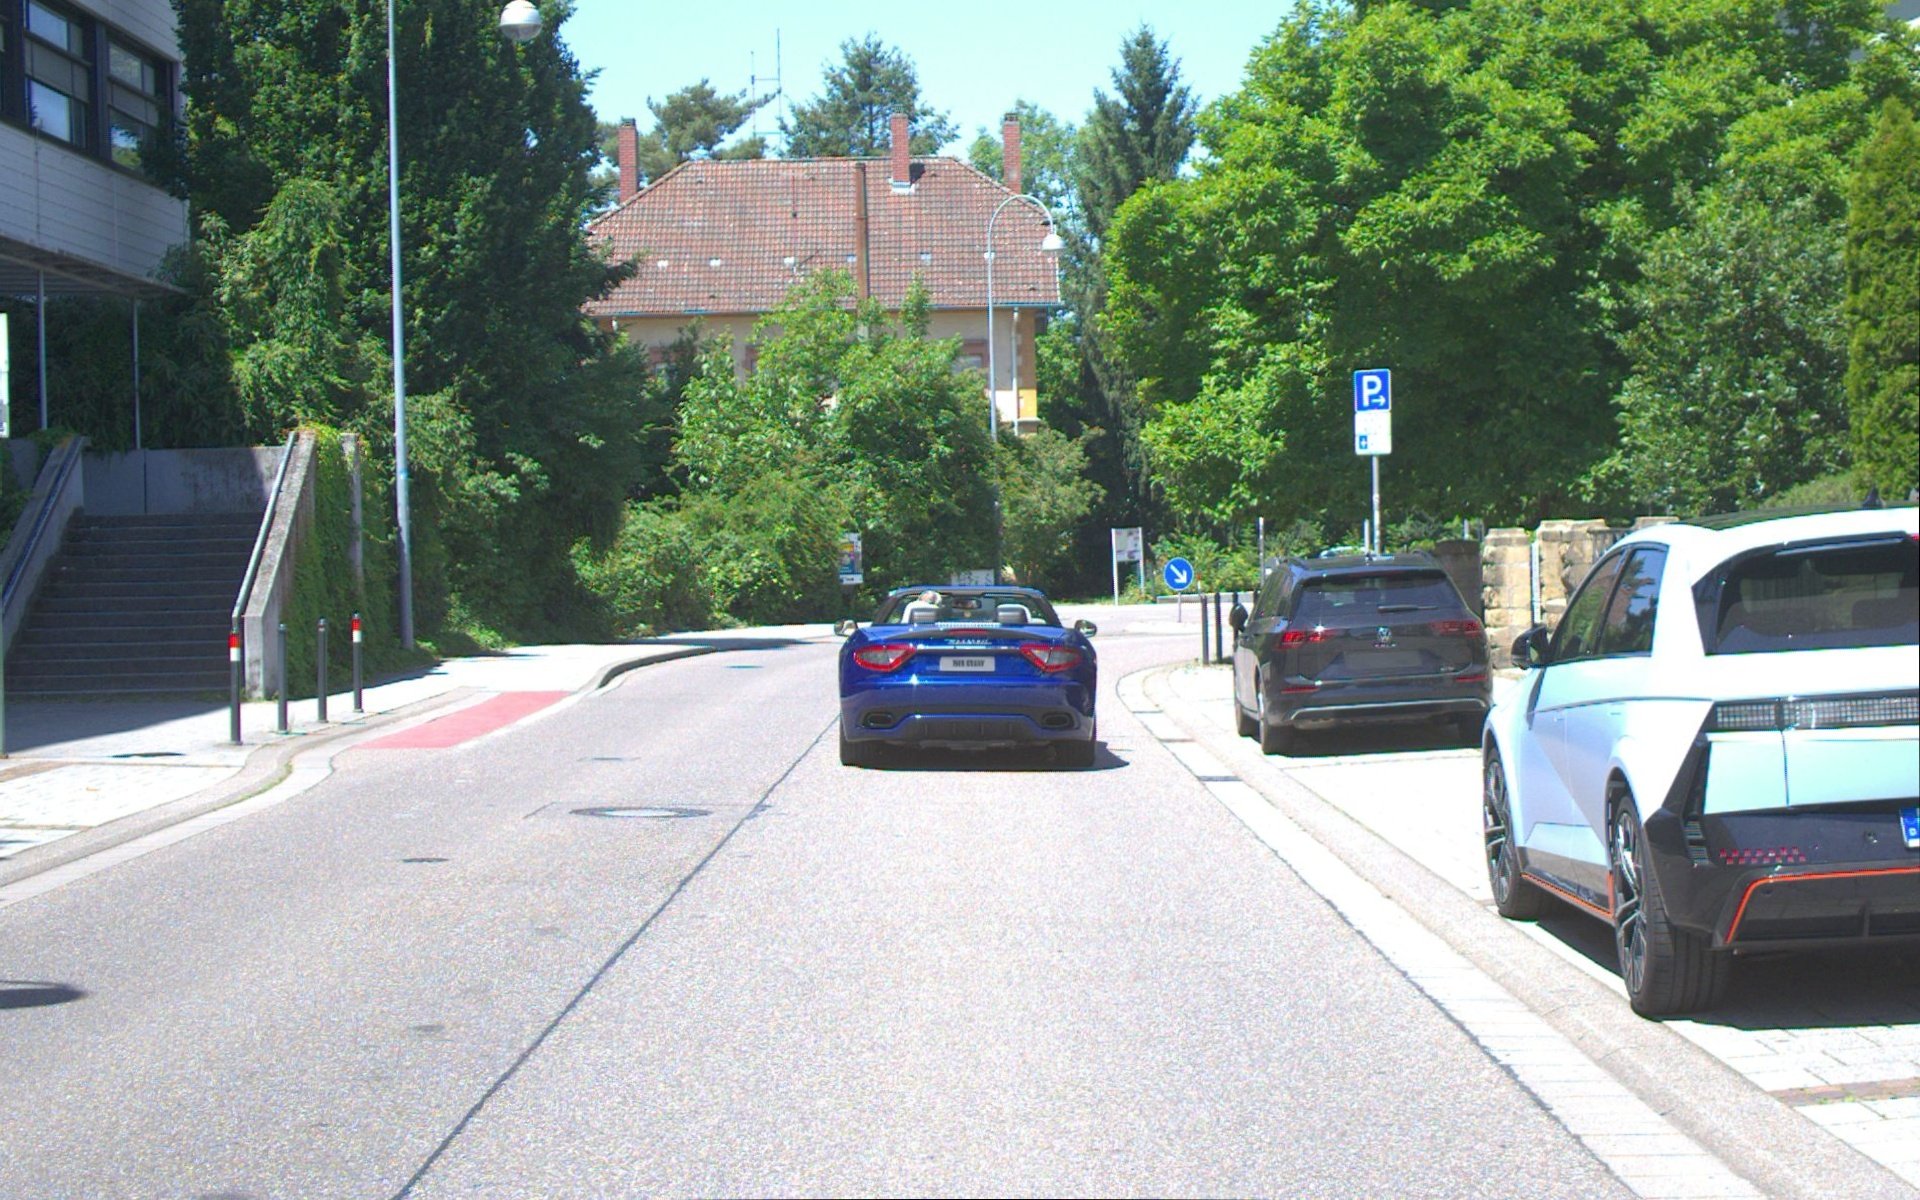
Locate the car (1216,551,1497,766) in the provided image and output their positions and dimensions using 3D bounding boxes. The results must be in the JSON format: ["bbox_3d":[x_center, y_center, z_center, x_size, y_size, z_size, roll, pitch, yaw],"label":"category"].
[{"bbox_3d":[3.014,0.391,26.942,1.631,1.441,4.398,-4,1,0],"label":"car"}]

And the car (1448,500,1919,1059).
[{"bbox_3d":[2.997,0.474,12.371,1.843,1.614,4.427,-3,1,1],"label":"car"}]

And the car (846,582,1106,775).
[{"bbox_3d":[0.126,0.542,26.592,1.827,1.332,4.700,0,1,0],"label":"car"}]
